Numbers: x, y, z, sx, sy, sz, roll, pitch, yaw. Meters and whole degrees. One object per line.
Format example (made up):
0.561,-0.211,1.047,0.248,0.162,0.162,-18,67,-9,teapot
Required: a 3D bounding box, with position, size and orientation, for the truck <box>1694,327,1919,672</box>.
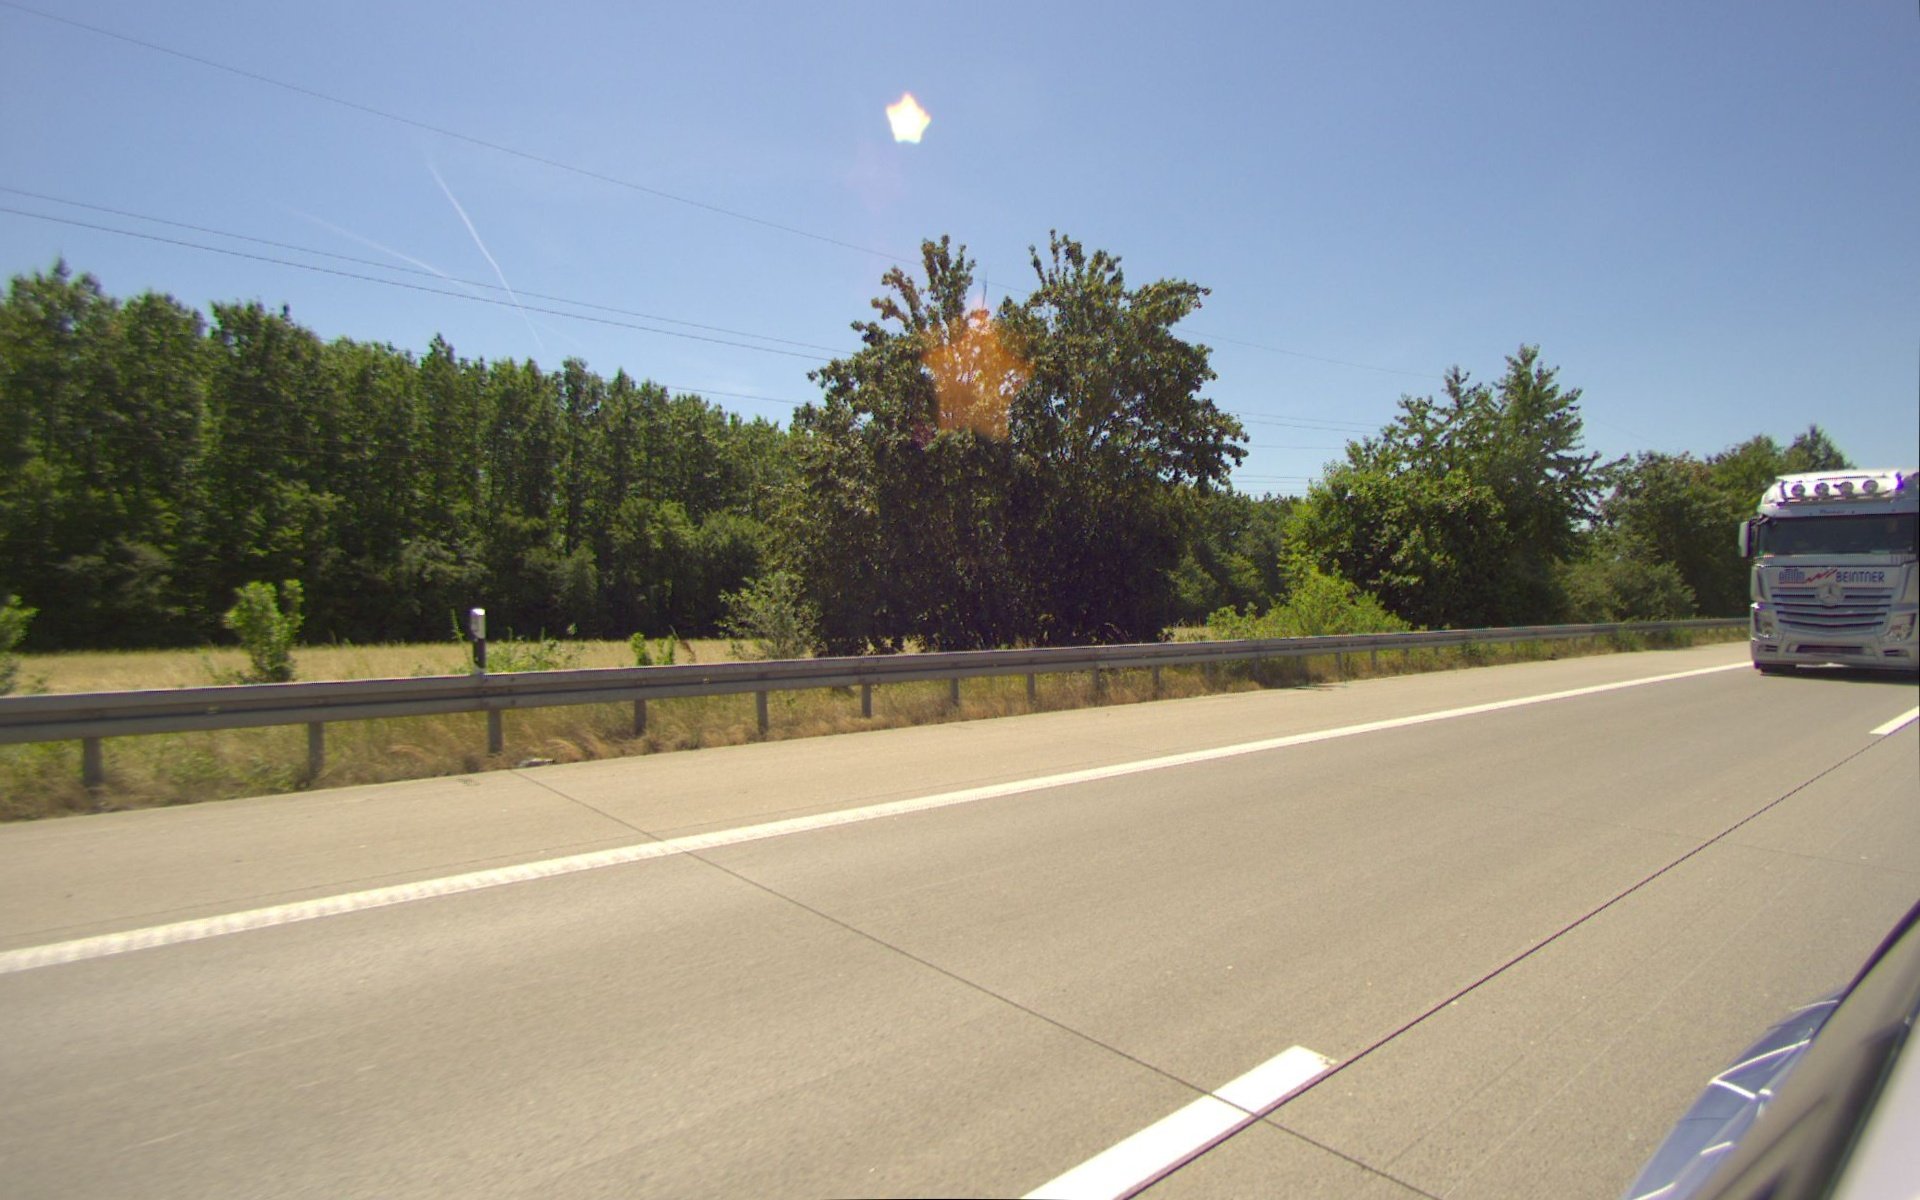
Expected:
22.311,-1.643,23.966,17.924,5.863,3.582,0,-3,-40,truck
